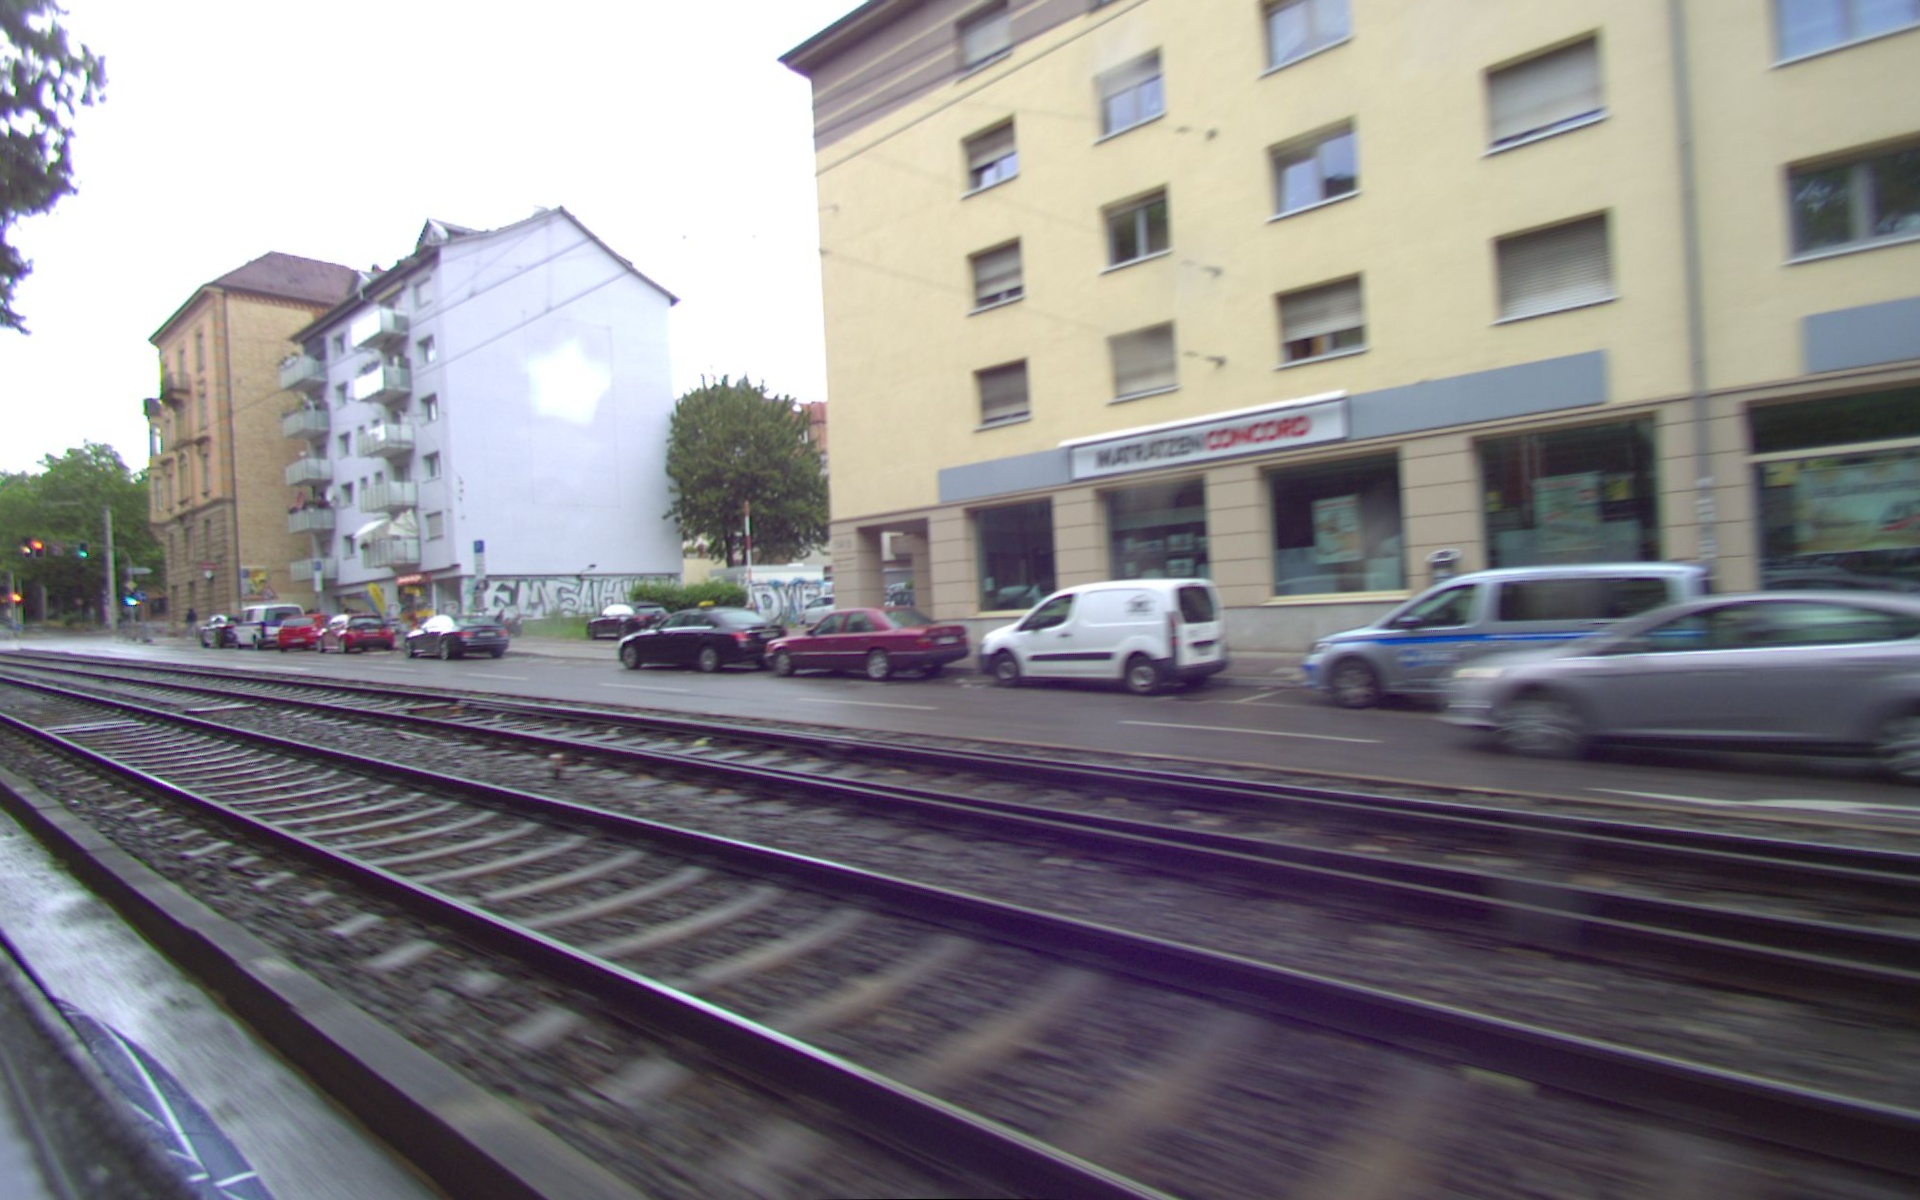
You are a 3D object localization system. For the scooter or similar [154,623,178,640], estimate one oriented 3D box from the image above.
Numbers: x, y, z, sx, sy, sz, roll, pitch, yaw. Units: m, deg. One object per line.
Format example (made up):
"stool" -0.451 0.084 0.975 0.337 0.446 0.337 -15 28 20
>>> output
"scooter or similar" -67.265 2.640 85.739 0.450 1.381 1.495 -1 0 24

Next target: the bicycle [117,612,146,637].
"bicycle" -71.993 2.107 87.962 0.517 2.029 1.875 -1 1 34

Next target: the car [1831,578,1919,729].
"car" 10.878 0.535 9.469 4.045 1.450 1.674 -2 -5 40

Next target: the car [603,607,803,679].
"car" -6.195 0.970 24.125 4.981 1.519 1.835 -1 0 36

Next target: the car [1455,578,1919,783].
"car" 6.739 0.593 8.554 4.279 1.473 1.693 -1 -1 42

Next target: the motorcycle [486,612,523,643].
"motorcycle" -19.041 1.136 42.329 1.783 1.209 0.633 1 5 40

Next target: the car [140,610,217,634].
"car" -52.855 1.460 68.498 1.773 1.550 3.754 -1 0 34

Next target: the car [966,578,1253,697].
"car" 2.384 0.568 16.898 4.459 1.730 1.847 -1 0 42

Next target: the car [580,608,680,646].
"car" -12.410 1.022 37.882 1.848 1.313 4.482 -1 -1 -43

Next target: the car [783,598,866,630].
"car" -6.304 0.653 46.860 3.903 1.411 1.650 -1 0 43

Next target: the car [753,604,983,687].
"car" -1.986 0.858 20.694 4.829 1.443 1.832 -1 1 41

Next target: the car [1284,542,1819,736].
"car" 7.103 0.408 12.626 5.456 1.919 1.973 -2 1 41

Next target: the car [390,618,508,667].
"car" -16.435 1.319 32.437 4.618 1.406 1.663 -1 0 40

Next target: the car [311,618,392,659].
"car" -23.473 1.460 38.984 4.074 1.462 1.635 -1 0 43

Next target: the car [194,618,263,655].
"car" -35.870 1.770 49.599 4.360 1.663 1.715 -1 0 40

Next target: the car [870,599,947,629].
"car" -2.561 0.667 49.966 3.742 1.352 1.650 0 2 43

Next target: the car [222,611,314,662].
"car" -31.609 1.649 46.149 5.298 2.024 2.049 -2 2 41

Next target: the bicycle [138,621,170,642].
"bicycle" -69.006 2.693 86.647 0.555 1.711 2.073 -2 0 34

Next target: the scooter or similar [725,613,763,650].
"scooter or similar" -7.017 1.021 32.879 0.378 1.121 1.280 -2 0 34

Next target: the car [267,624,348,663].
"car" -27.815 1.805 43.276 1.755 1.444 3.994 -2 0 -15
